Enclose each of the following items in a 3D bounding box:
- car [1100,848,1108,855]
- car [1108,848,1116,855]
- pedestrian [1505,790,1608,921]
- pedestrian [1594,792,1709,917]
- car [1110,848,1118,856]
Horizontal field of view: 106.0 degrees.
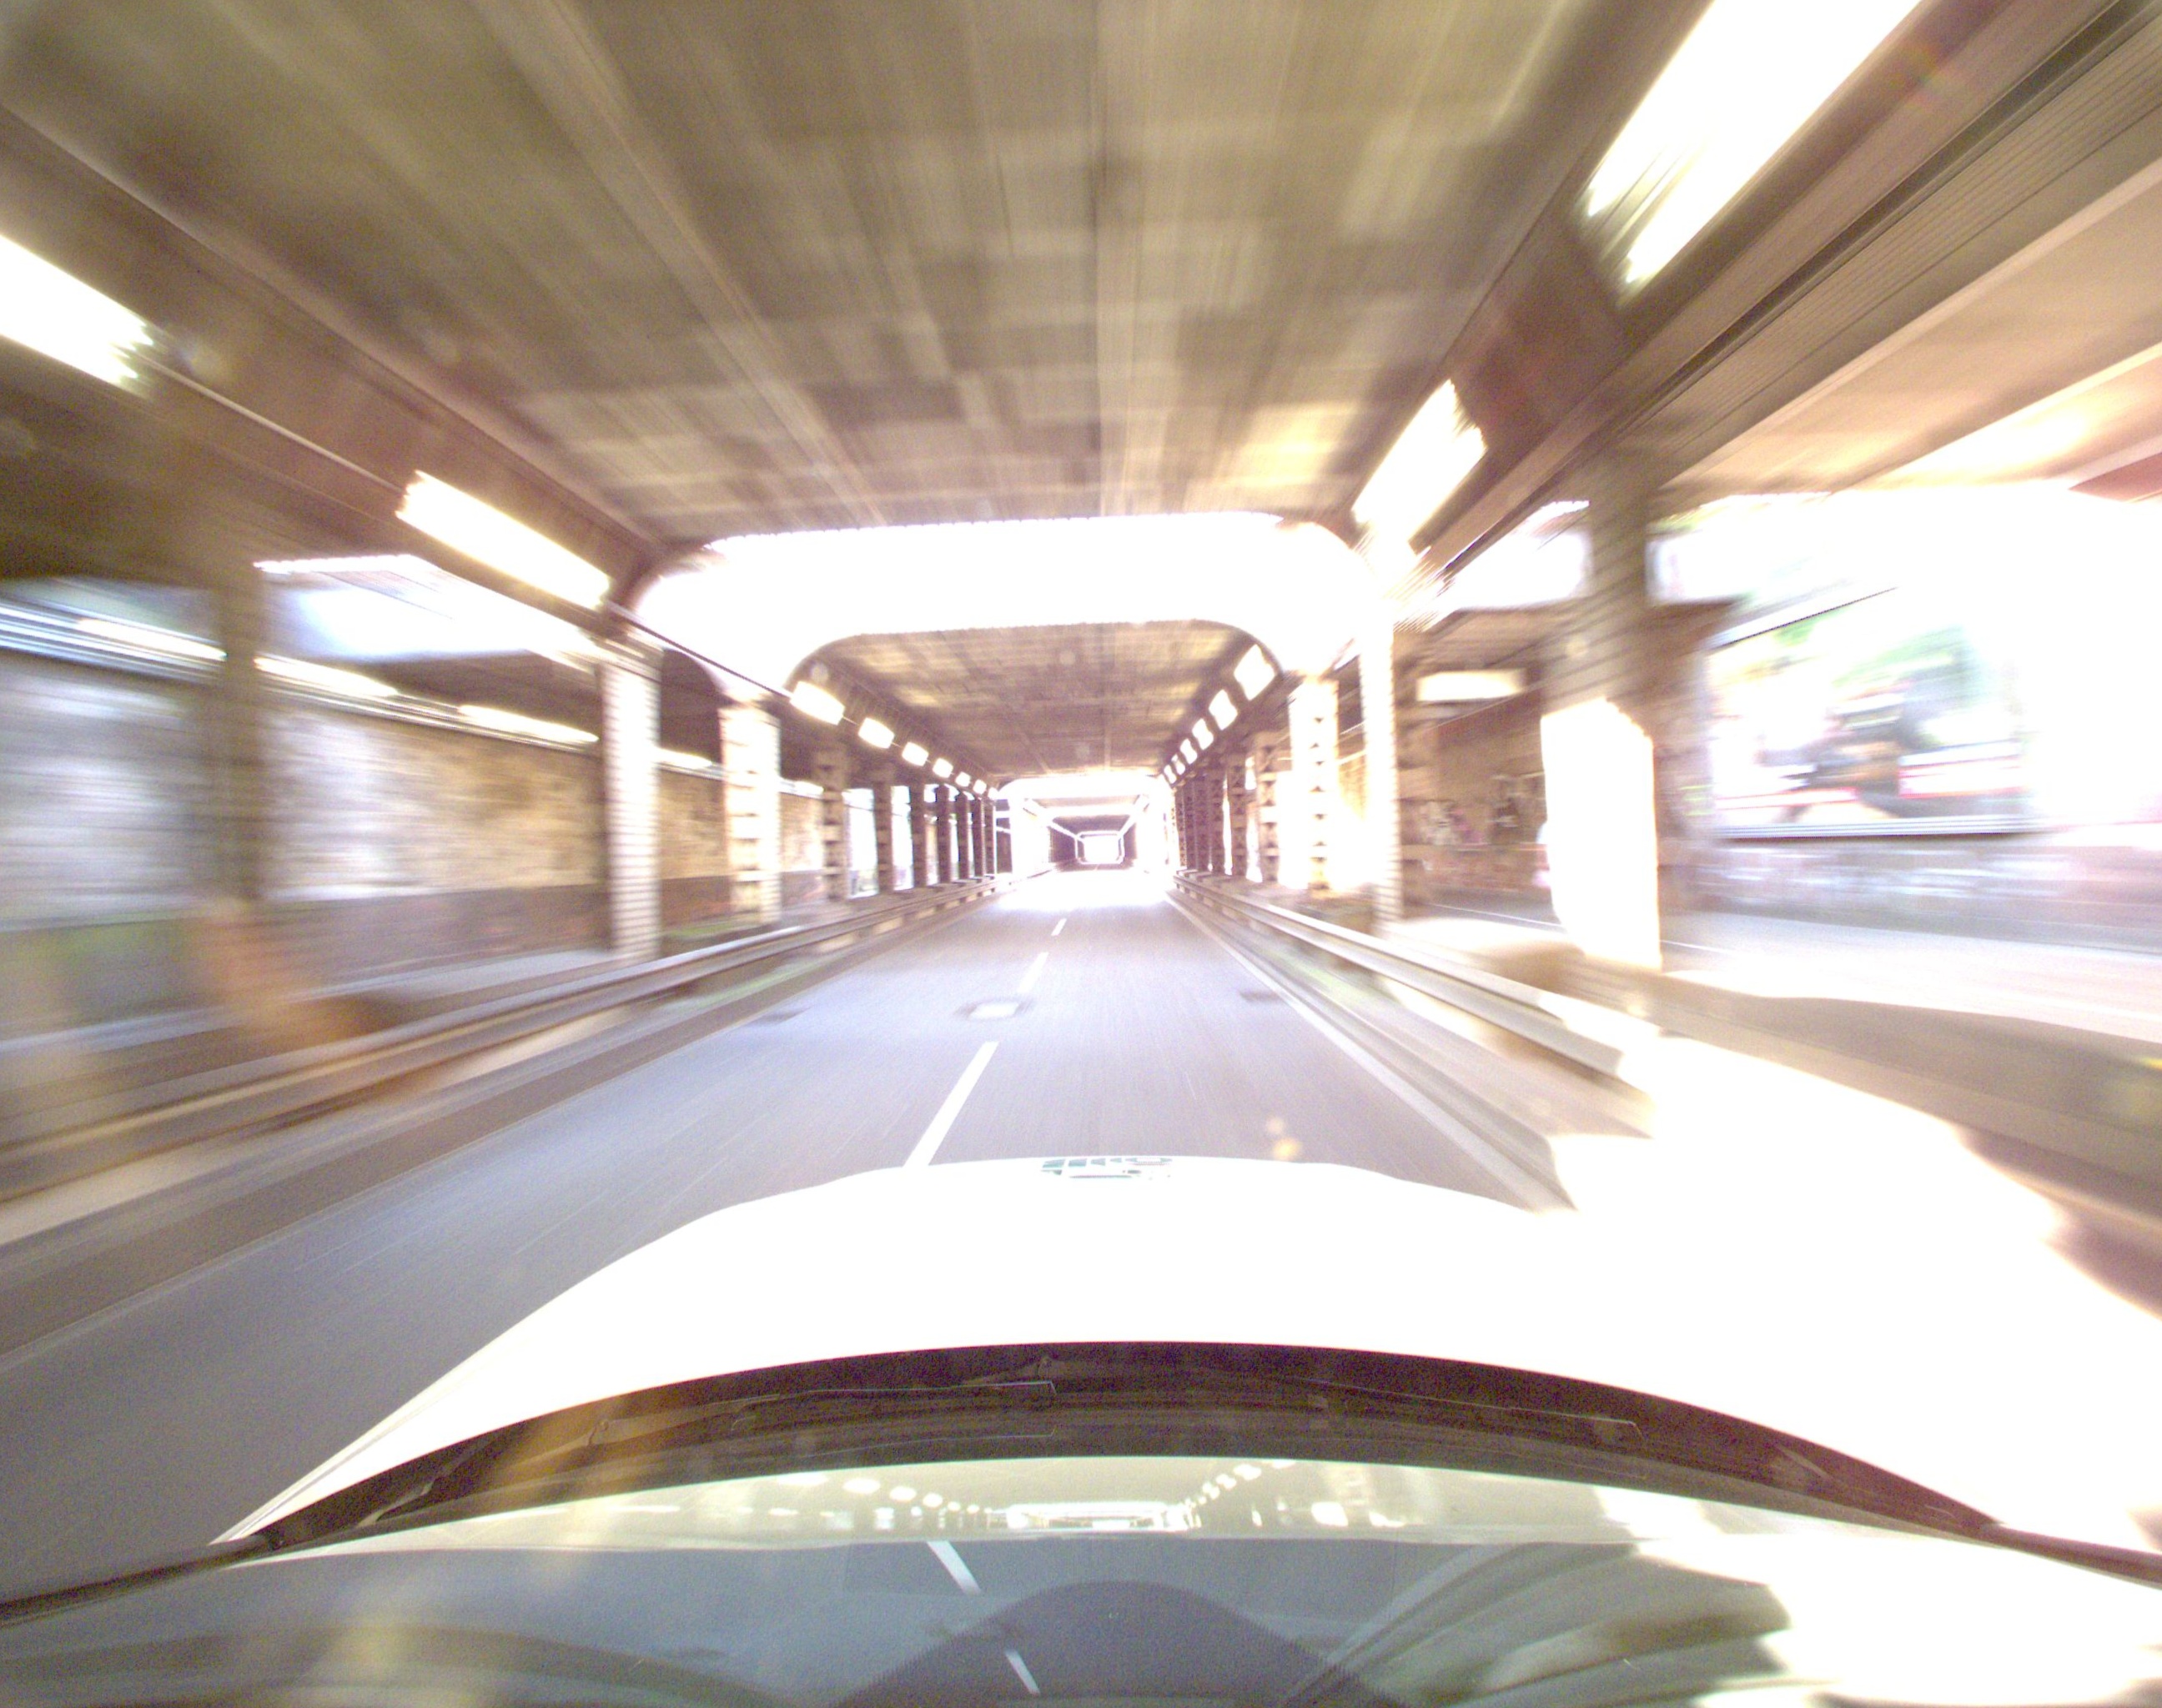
[{"bbox_3d":[6.198,-0.543,219.609,1.986,1.784,4.002,-2,0,2],"label":"car"},{"bbox_3d":[7.986,-0.551,213.090,1.986,1.784,4.002,-2,0,2],"label":"car"},{"bbox_3d":[7.140,0.016,12.268,0.878,1.835,0.922,-4,0,-2],"label":"pedestrian"},{"bbox_3d":[8.148,0.005,11.667,0.914,1.656,0.886,-4,0,-2],"label":"pedestrian"},{"bbox_3d":[8.312,-0.436,203.826,1.986,1.784,4.002,-2,0,2],"label":"car"}]
